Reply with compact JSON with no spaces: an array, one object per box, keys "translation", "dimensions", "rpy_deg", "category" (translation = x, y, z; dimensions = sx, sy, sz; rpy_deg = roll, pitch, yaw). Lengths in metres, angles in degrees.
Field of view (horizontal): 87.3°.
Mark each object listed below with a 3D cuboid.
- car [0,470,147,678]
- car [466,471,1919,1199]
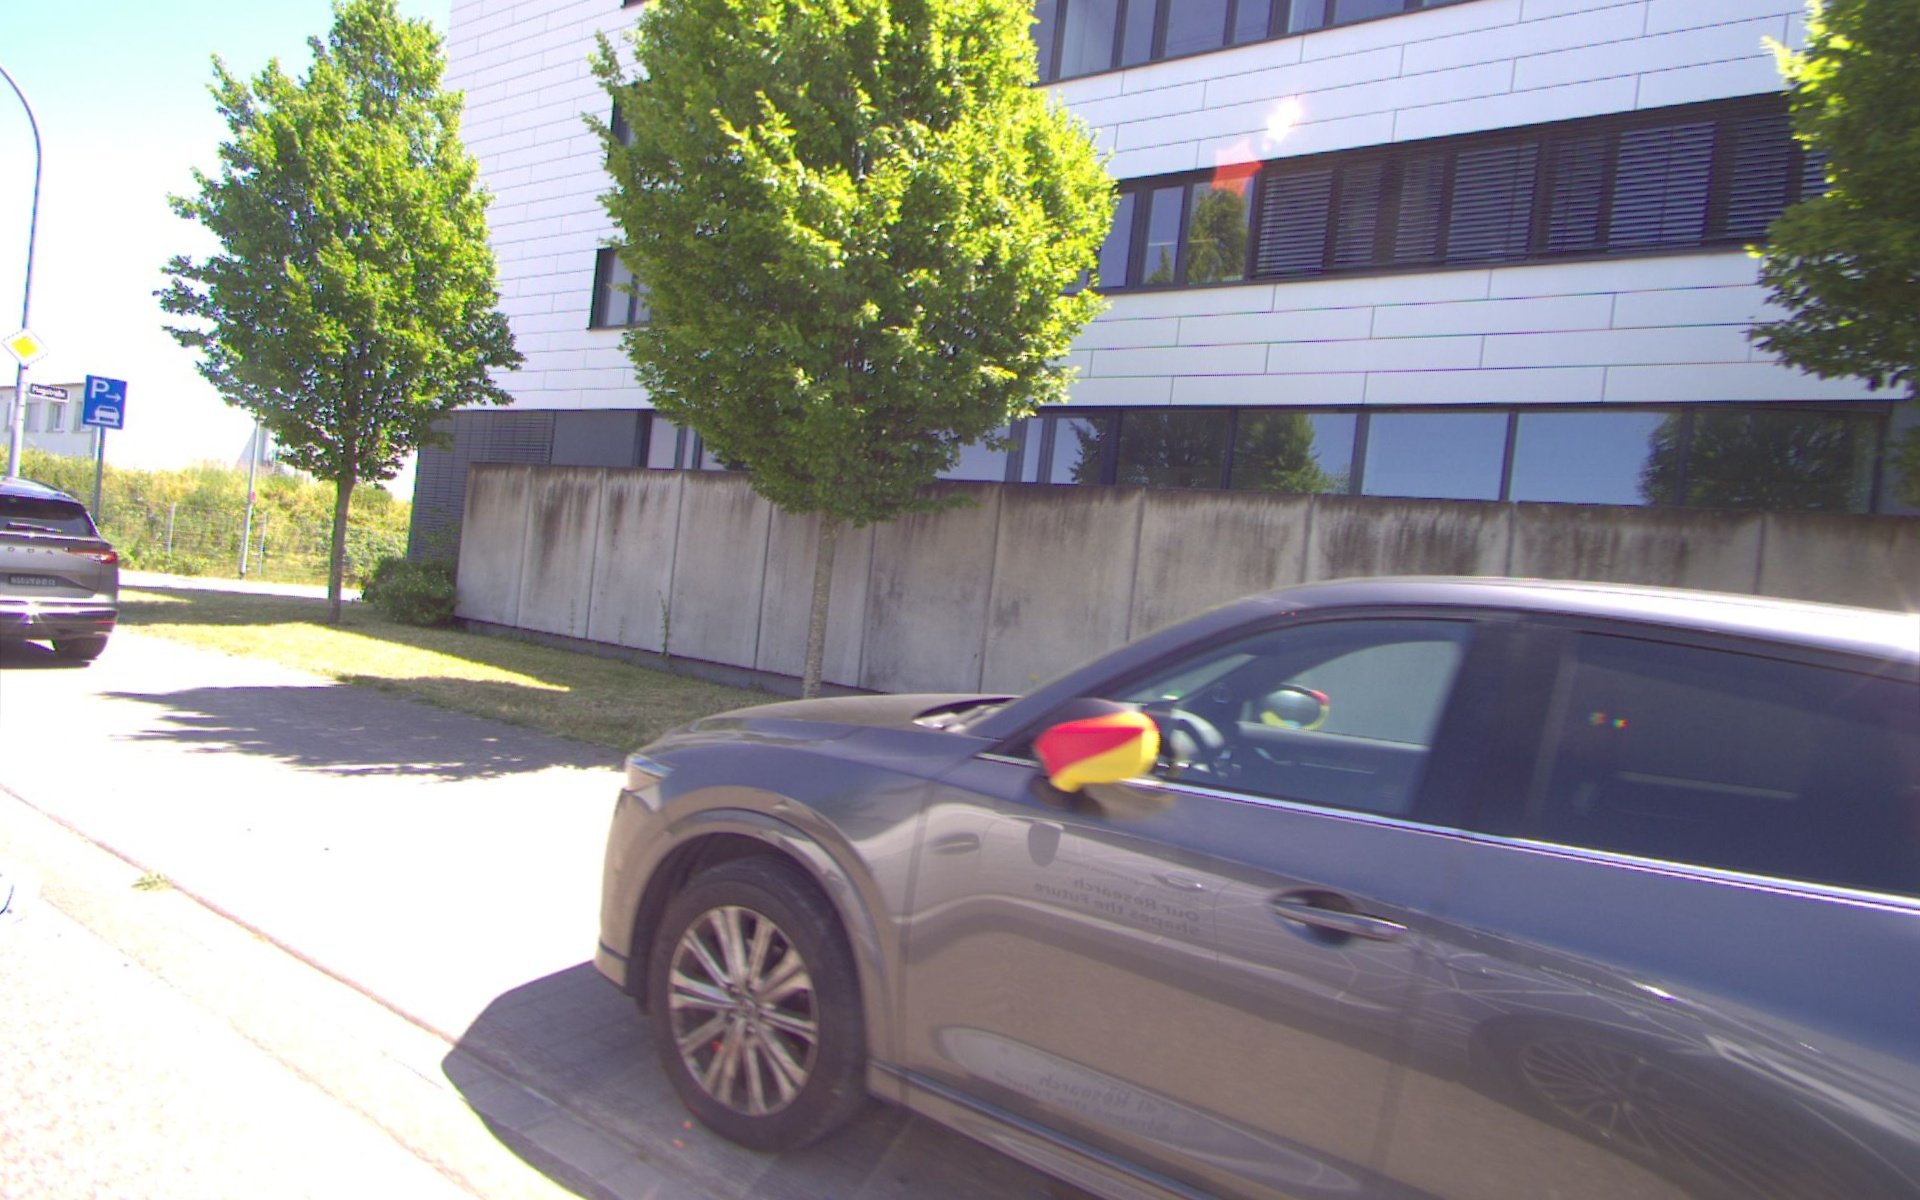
[{"translation":[-9.664,-0.431,9.319],"dimensions":[4.530,1.684,1.804],"rpy_deg":[7,2,31],"category":"car"},{"translation":[0.803,0.694,2.718],"dimensions":[4.291,1.684,1.758],"rpy_deg":[7,2,32],"category":"car"}]
